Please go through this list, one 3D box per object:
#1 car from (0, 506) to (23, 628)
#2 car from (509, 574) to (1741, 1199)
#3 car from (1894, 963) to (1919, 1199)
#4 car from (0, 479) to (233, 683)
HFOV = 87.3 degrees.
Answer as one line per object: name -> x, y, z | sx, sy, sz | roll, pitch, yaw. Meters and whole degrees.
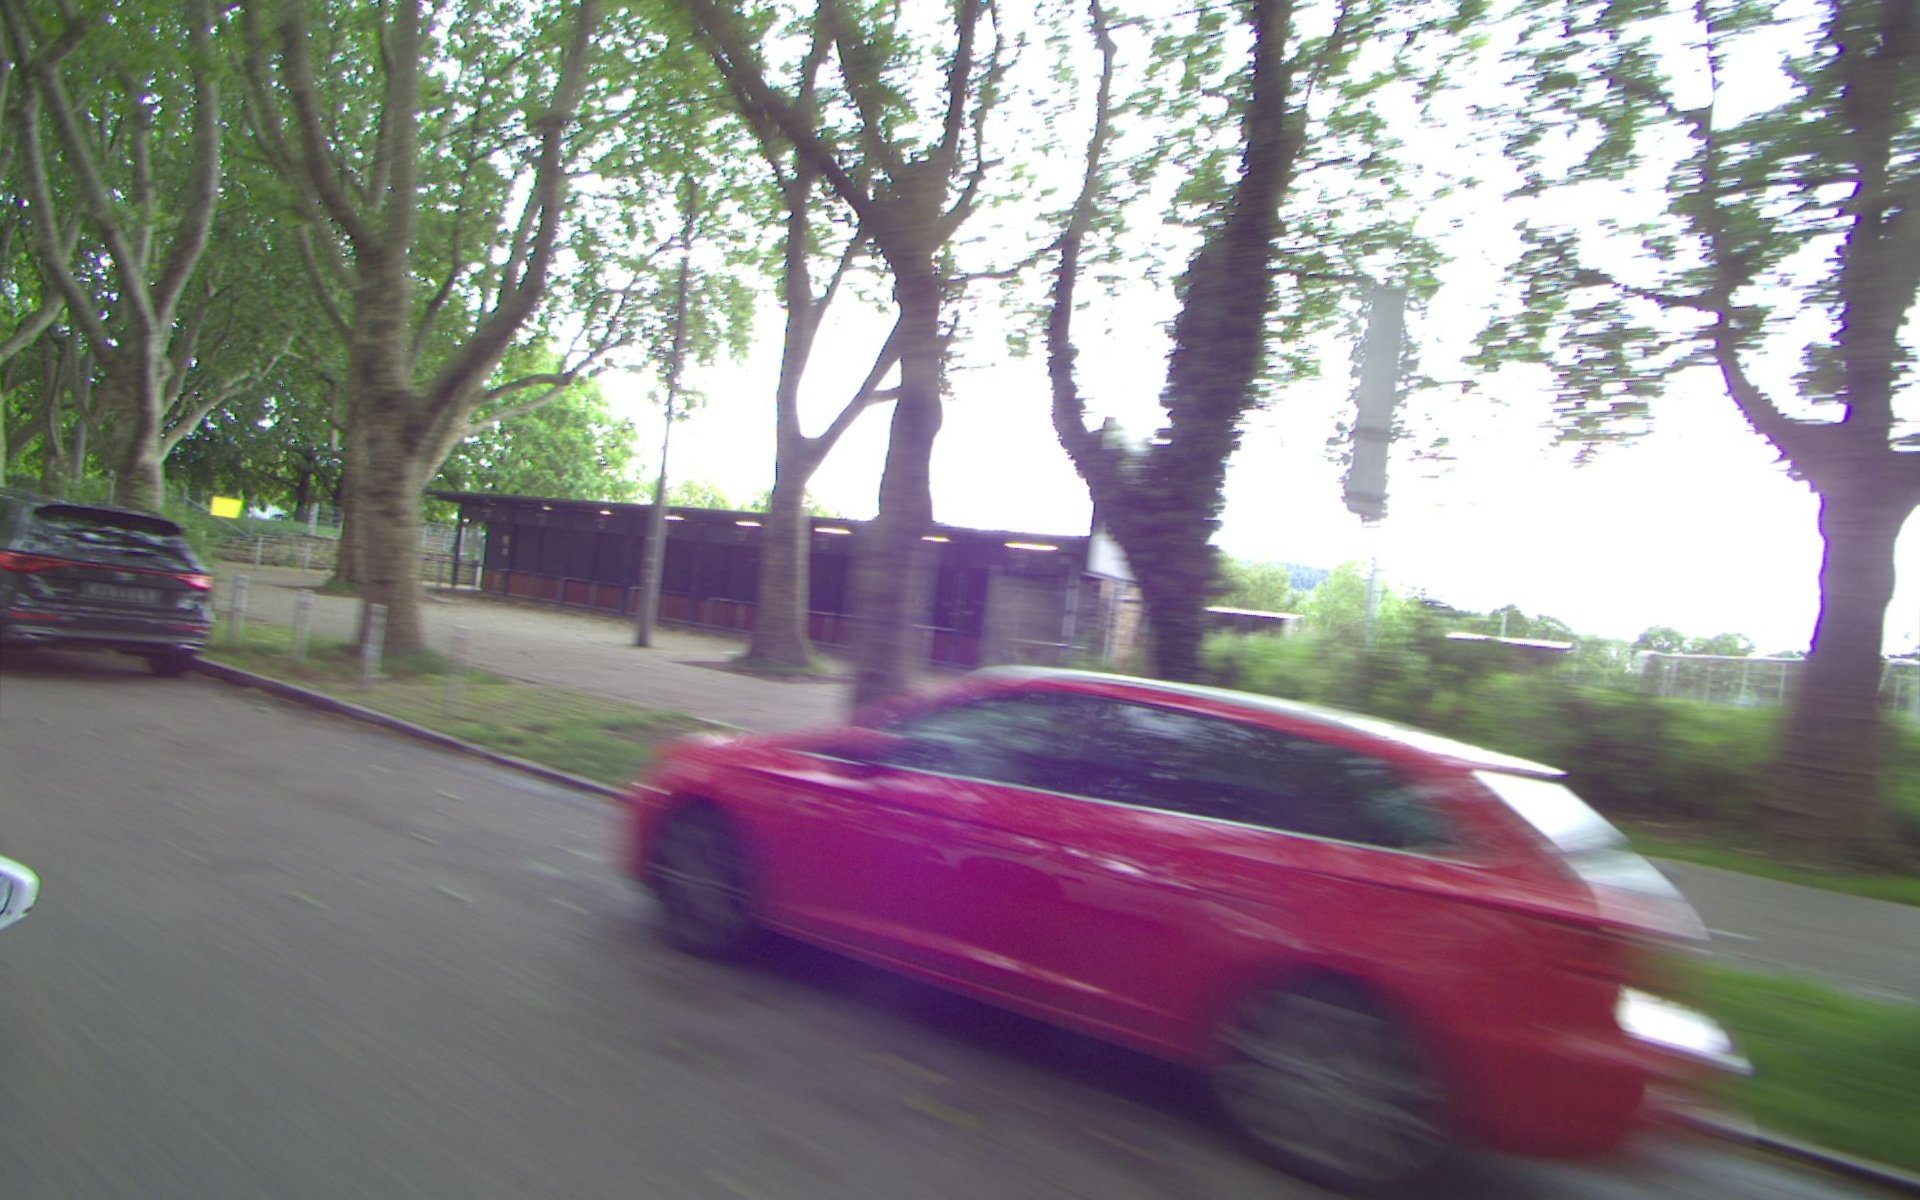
car -> -14.229, -0.714, 13.177 | 4.282, 1.526, 1.672 | 7, -3, 32
car -> 0.353, 0.944, 4.470 | 4.548, 1.454, 1.722 | 7, -3, 28
car -> 4.702, 1.492, 1.832 | 4.013, 1.486, 1.734 | 7, -3, 33
car -> -9.561, -0.318, 10.305 | 4.365, 1.638, 1.760 | 7, -3, 32
